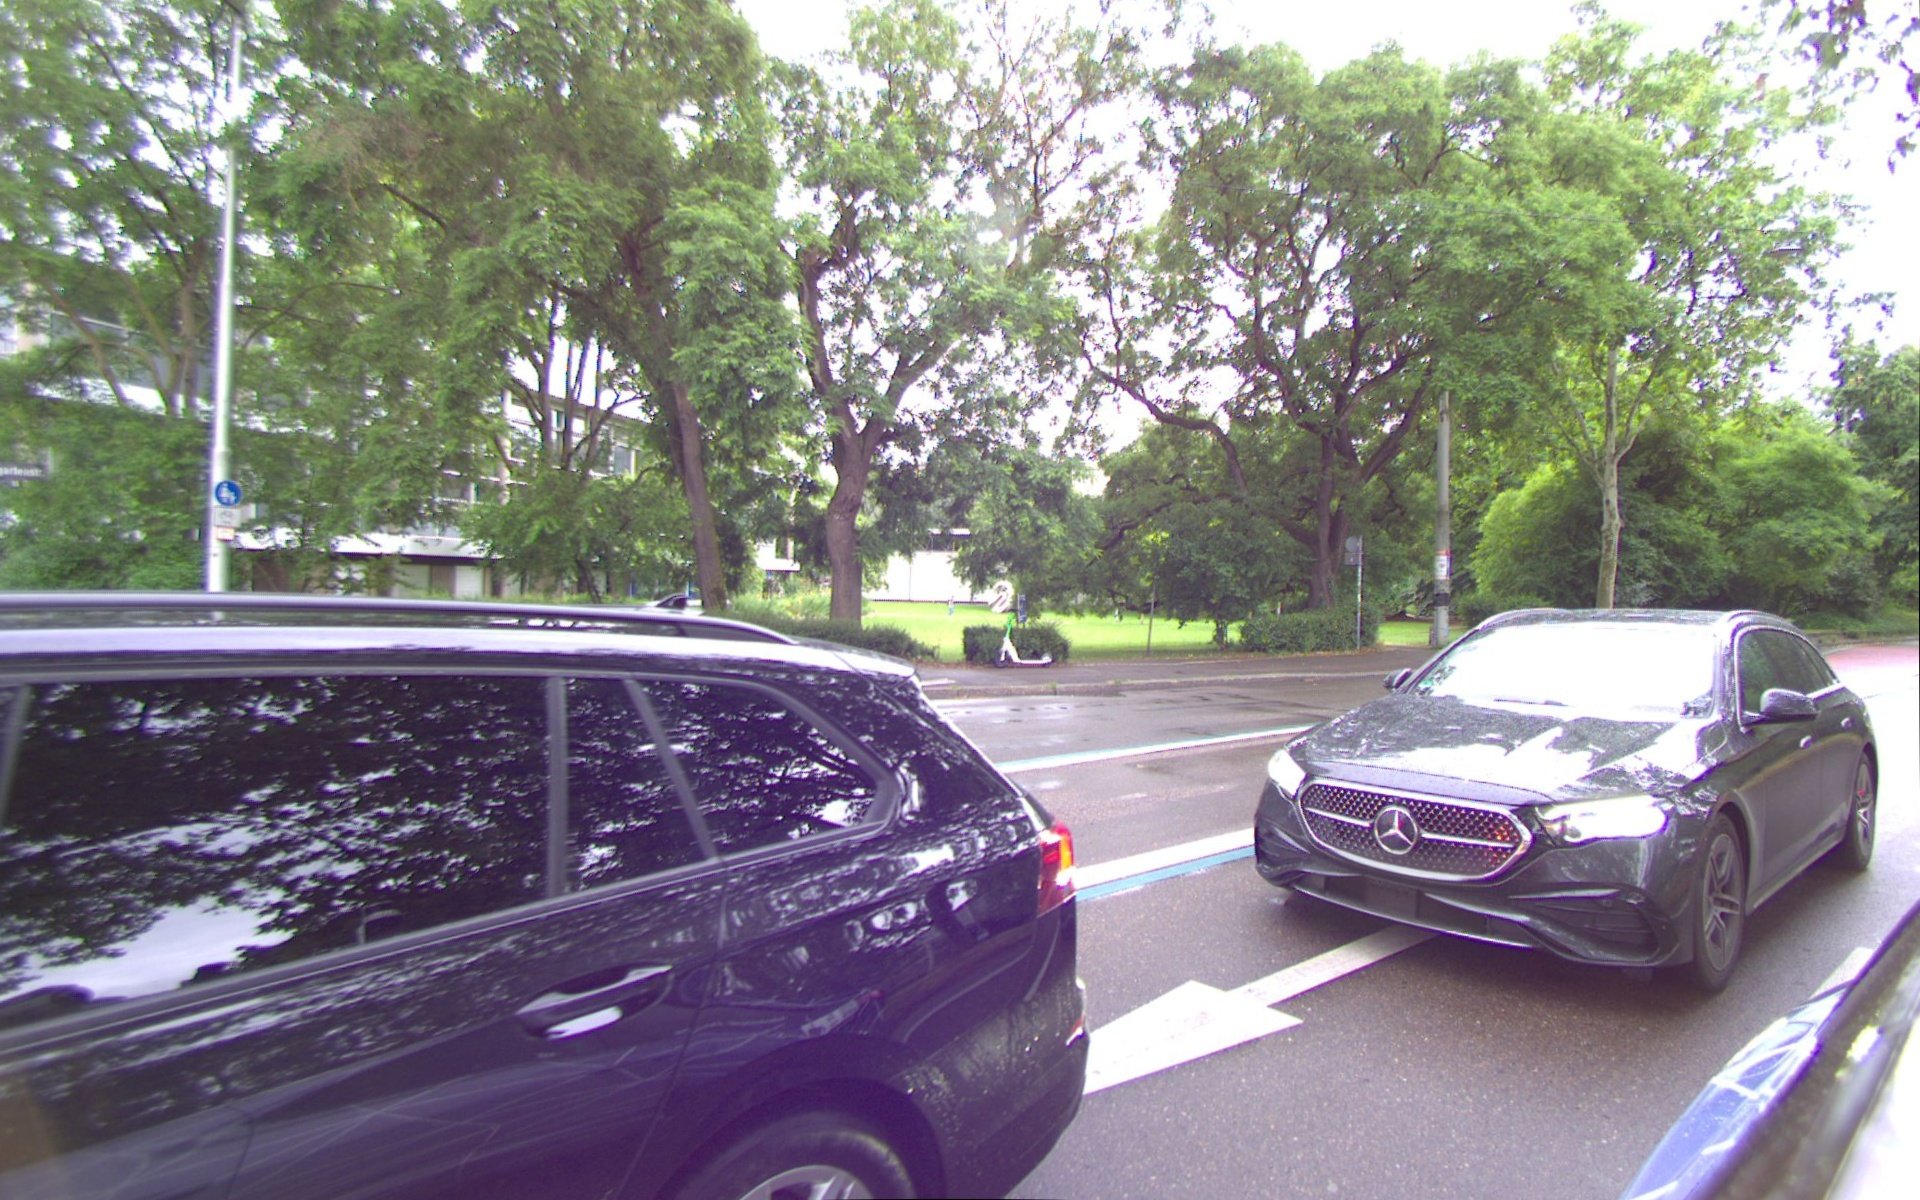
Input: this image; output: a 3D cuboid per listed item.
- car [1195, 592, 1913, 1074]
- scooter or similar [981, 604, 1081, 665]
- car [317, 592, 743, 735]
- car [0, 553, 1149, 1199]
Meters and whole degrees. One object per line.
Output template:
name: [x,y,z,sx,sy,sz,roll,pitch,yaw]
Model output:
car: [3.479,0.721,5.400,4.844,1.464,1.882,0,-1,-41]
scooter or similar: [1.411,0.679,19.968,1.851,1.114,0.559,2,2,-19]
car: [-4.900,0.673,12.048,4.311,1.468,1.872,1,0,-19]
car: [-1.765,0.678,1.391,4.436,1.484,1.672,1,0,-43]
